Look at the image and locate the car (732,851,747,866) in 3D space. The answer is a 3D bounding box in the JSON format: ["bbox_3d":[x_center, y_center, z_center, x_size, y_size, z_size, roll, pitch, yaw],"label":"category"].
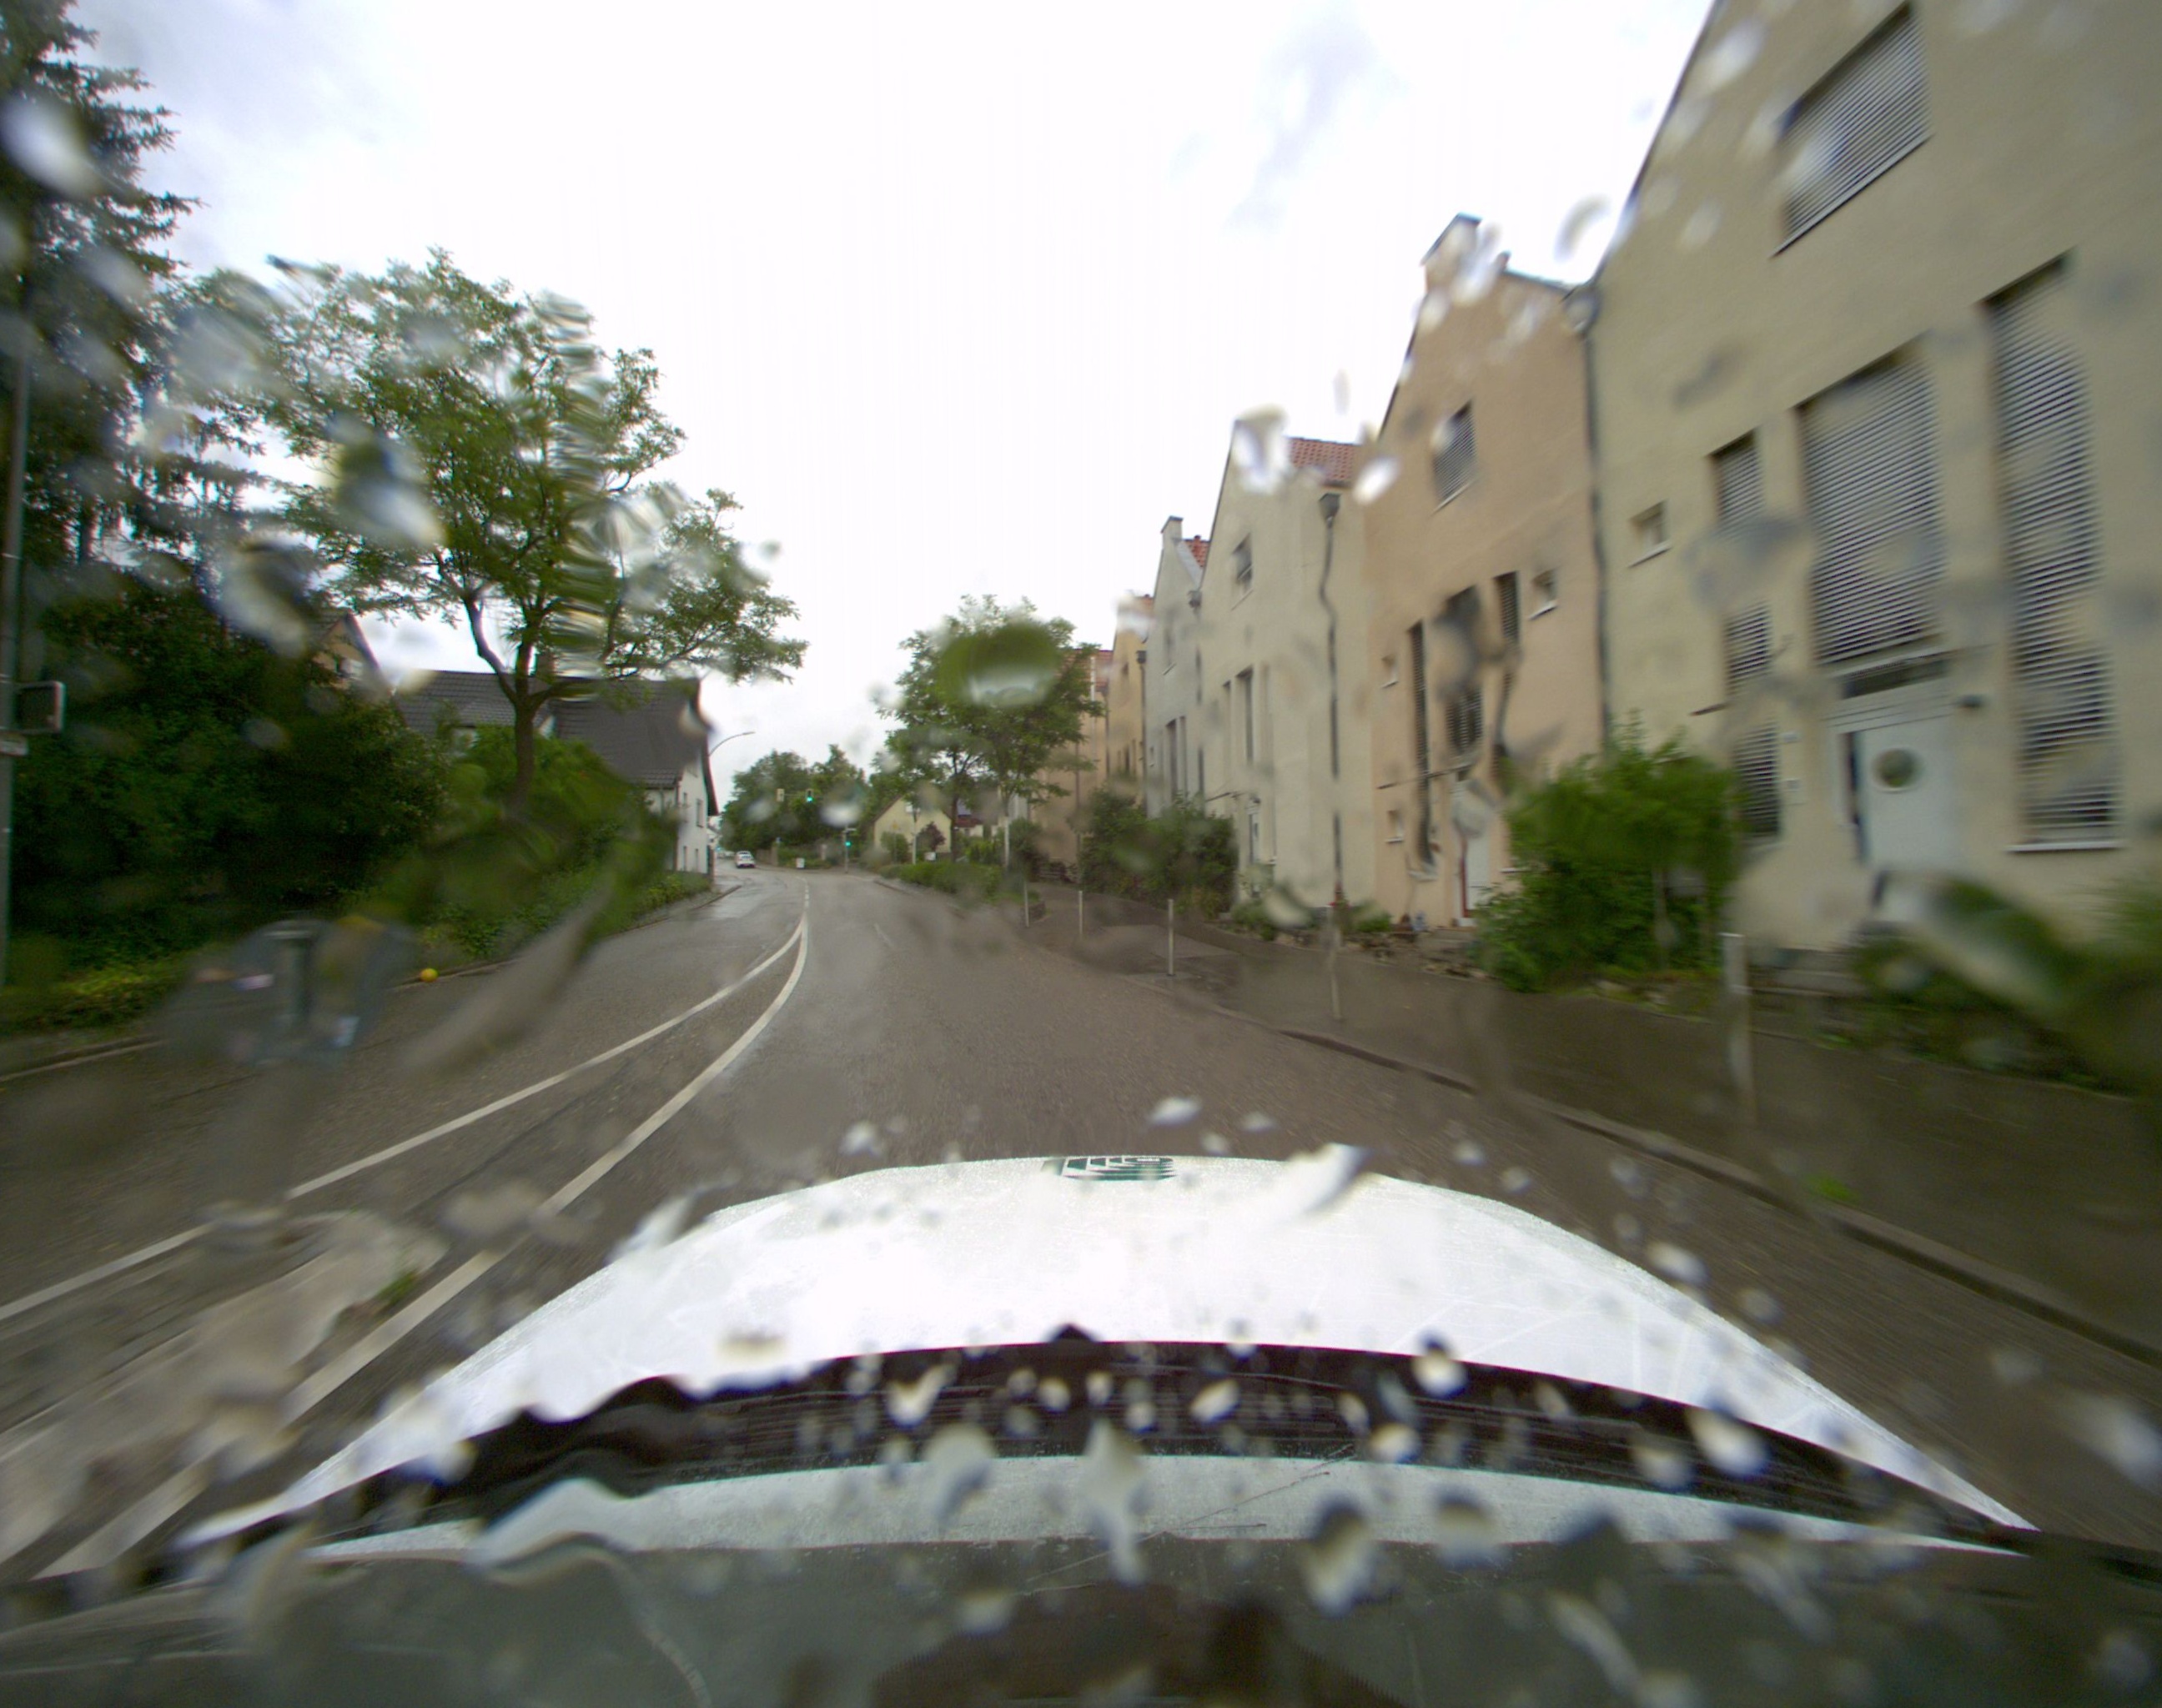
[{"bbox_3d":[-41.478,0.554,99.030,1.644,1.741,4.104,0,0,-22],"label":"car"}]

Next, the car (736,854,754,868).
[{"bbox_3d":[-36.907,0.780,89.441,1.619,1.480,4.005,0,0,-25],"label":"car"}]
